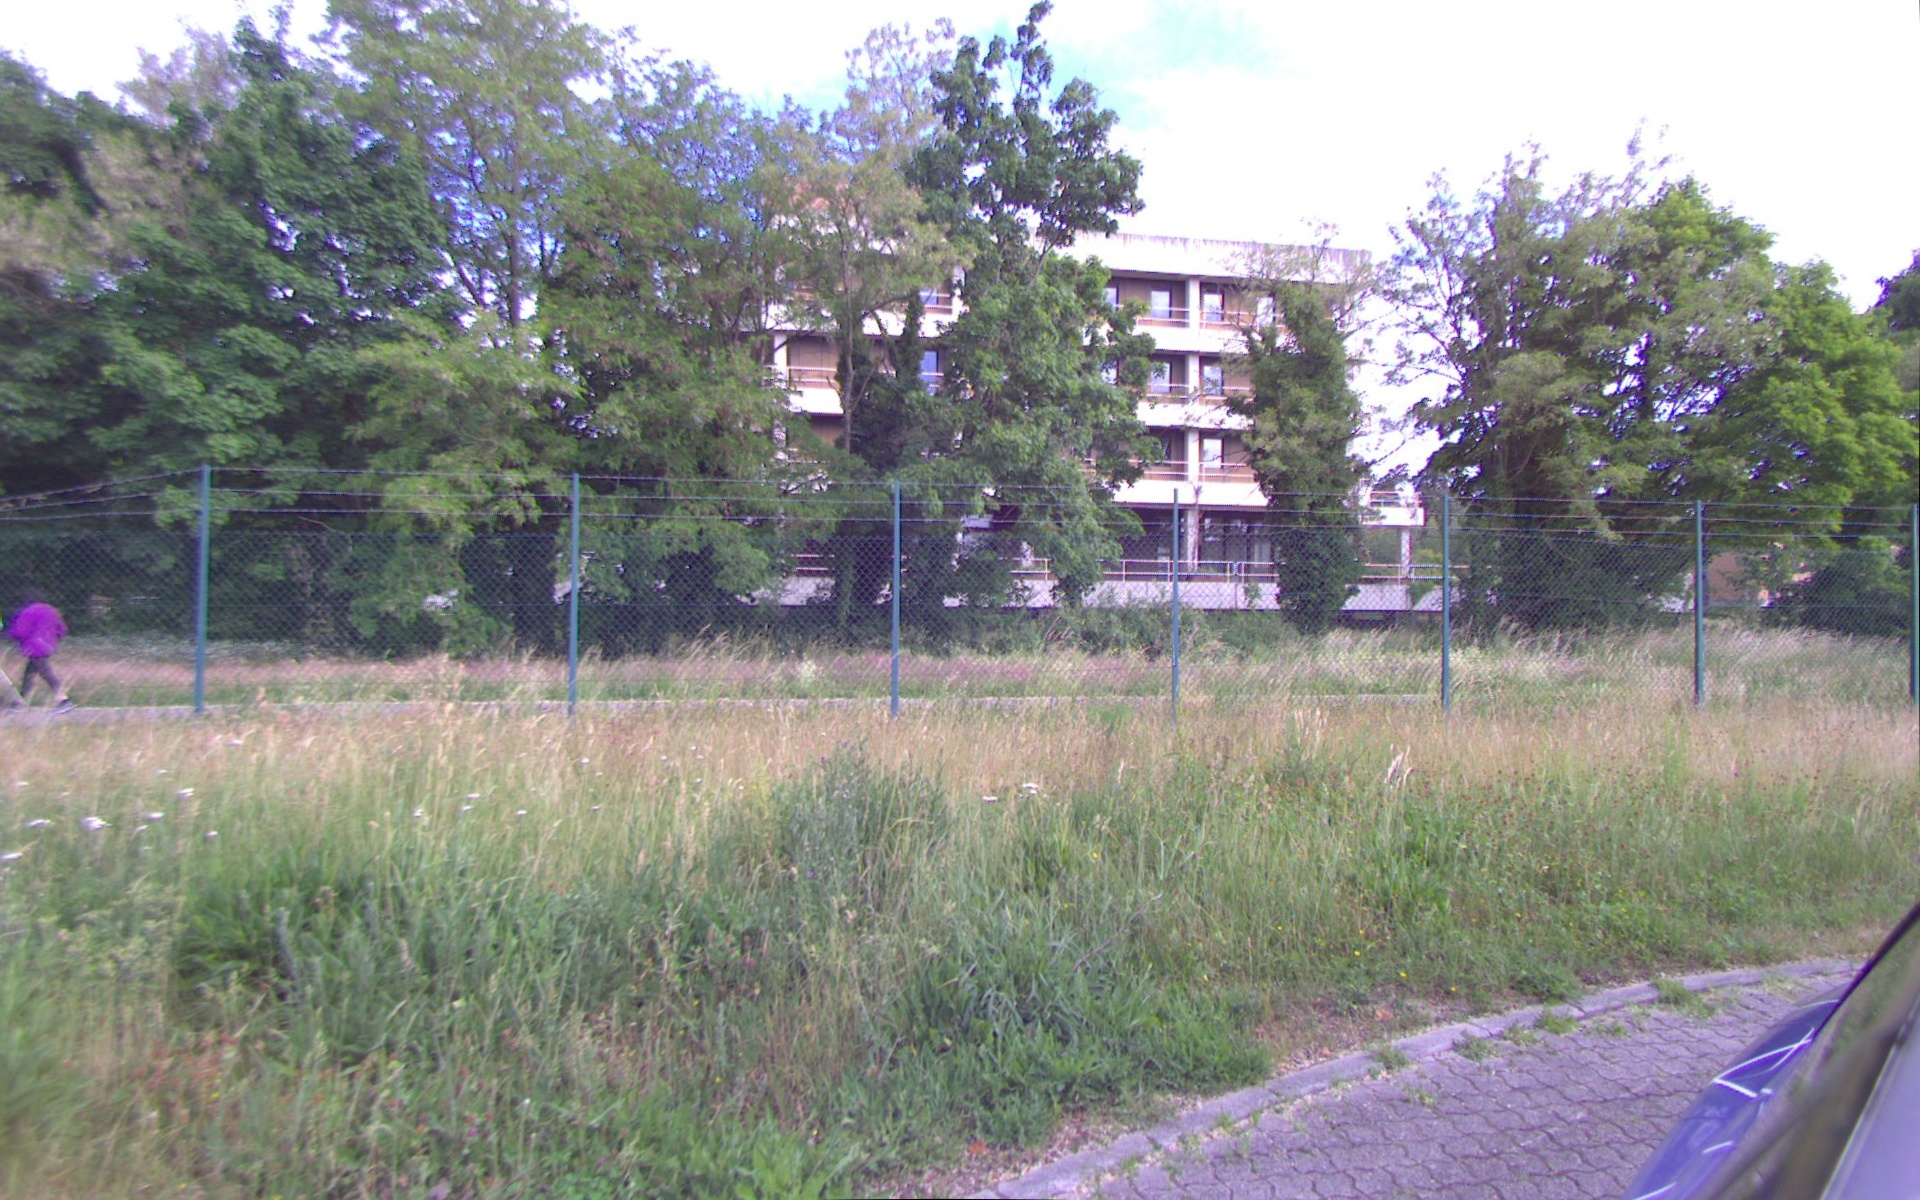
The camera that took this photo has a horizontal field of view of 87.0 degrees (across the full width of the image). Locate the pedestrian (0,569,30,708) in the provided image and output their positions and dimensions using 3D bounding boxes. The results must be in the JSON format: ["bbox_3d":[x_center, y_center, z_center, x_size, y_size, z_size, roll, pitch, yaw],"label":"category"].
[{"bbox_3d":[-12.243,0.468,12.350,1.017,1.703,0.845,0,0,-4],"label":"pedestrian"}]

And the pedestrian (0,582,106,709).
[{"bbox_3d":[-11.875,0.568,13.094,1.014,1.594,0.738,0,0,-7],"label":"pedestrian"}]
